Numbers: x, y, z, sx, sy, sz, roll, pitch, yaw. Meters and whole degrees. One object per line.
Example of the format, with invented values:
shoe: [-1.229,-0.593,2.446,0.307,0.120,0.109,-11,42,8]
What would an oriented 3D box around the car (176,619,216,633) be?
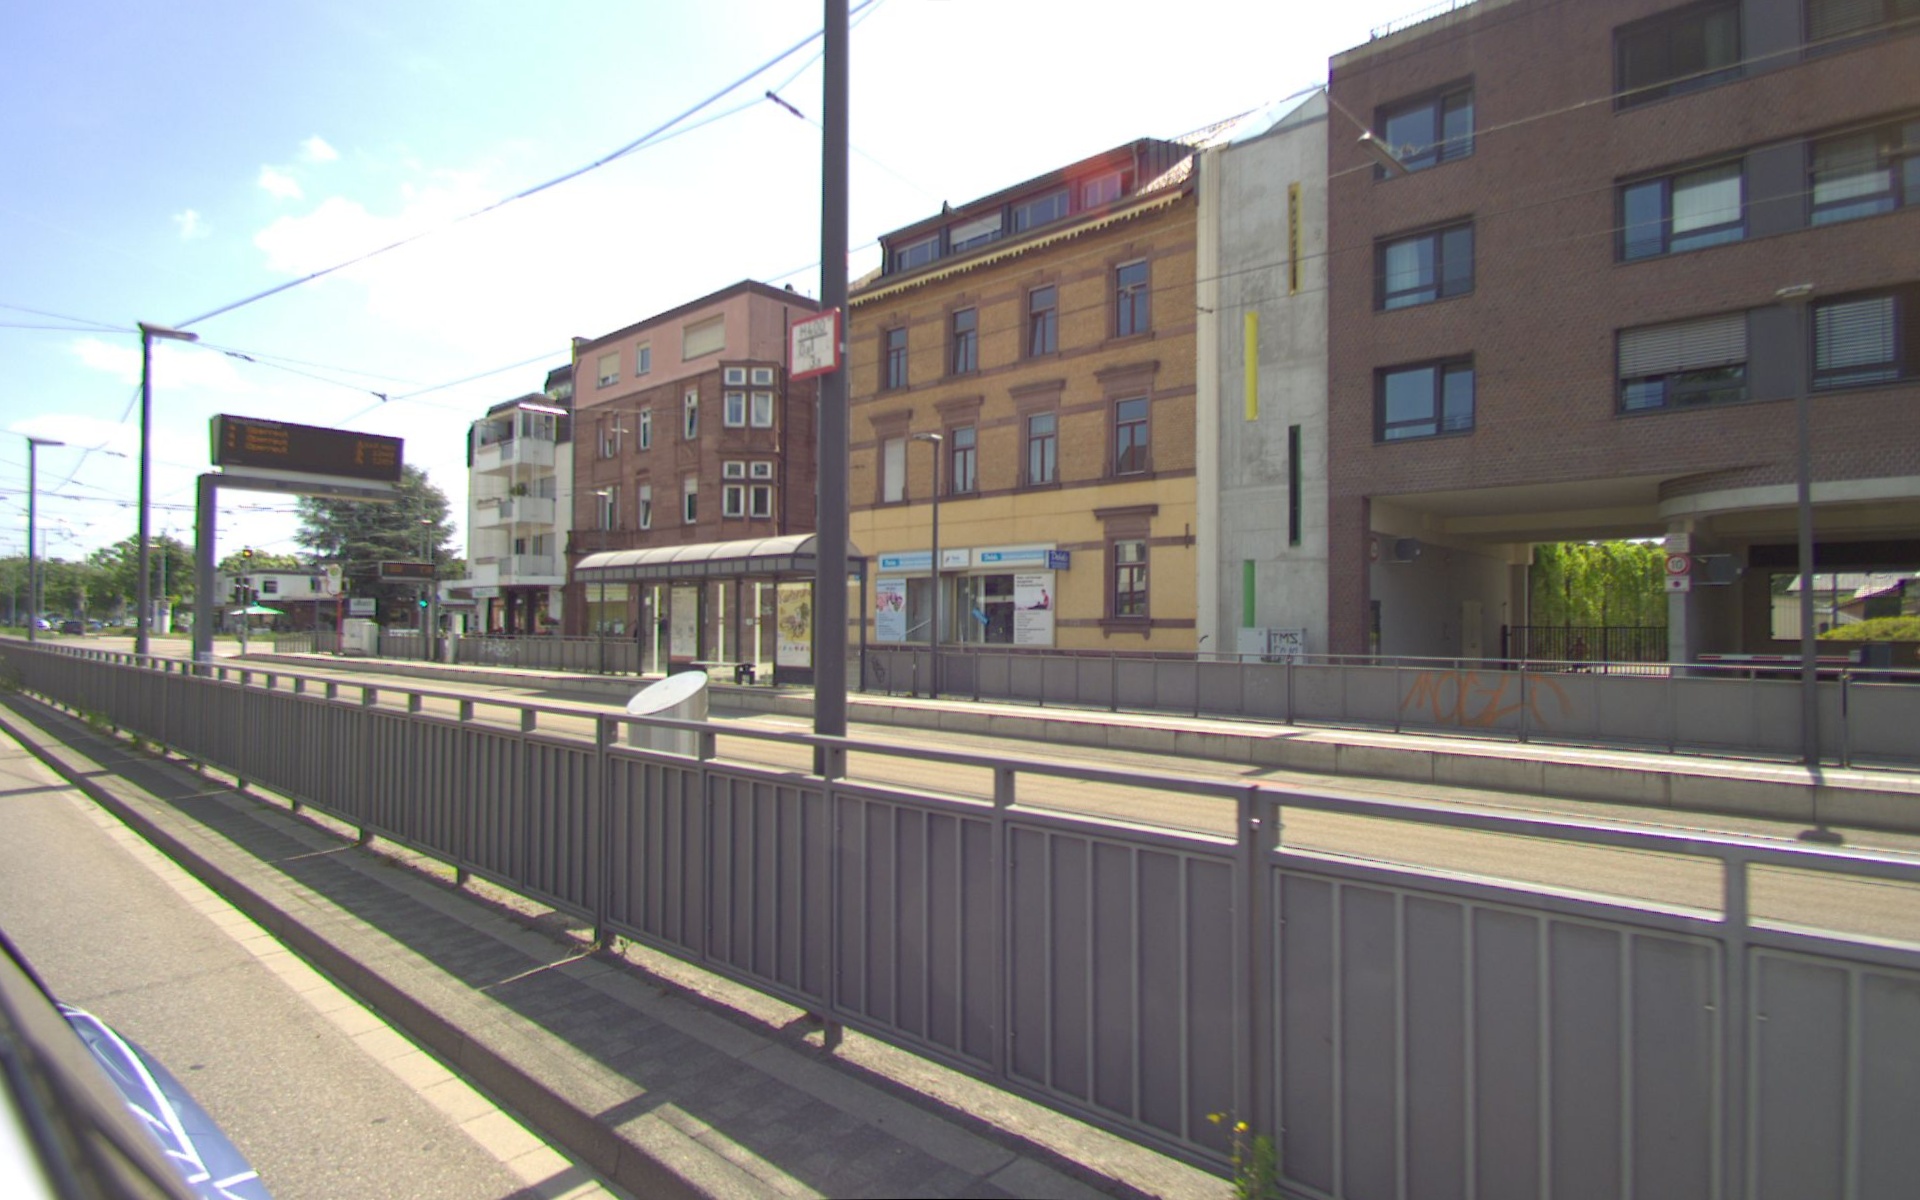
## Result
car: [-144.940,4.988,192.015,2.258,2.500,5.625,-1,-3,39]

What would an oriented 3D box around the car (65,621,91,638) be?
car: [-94.157,3.161,108.026,4.280,1.696,1.704,-2,-4,44]

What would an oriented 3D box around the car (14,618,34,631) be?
car: [-161.027,4.165,174.105,4.486,2.117,2.045,0,0,41]

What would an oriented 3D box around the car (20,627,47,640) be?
car: [-114.030,4.100,124.497,4.400,1.482,1.972,-1,-3,42]

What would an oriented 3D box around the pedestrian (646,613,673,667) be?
pedestrian: [-11.483,1.538,38.651,0.810,2.029,0.611,-1,-3,40]

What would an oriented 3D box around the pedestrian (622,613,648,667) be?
pedestrian: [-12.197,1.485,37.933,0.684,2.029,0.670,0,-1,40]

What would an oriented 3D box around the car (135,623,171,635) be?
car: [-122.481,4.464,153.596,1.903,1.749,3.943,-1,-3,43]
